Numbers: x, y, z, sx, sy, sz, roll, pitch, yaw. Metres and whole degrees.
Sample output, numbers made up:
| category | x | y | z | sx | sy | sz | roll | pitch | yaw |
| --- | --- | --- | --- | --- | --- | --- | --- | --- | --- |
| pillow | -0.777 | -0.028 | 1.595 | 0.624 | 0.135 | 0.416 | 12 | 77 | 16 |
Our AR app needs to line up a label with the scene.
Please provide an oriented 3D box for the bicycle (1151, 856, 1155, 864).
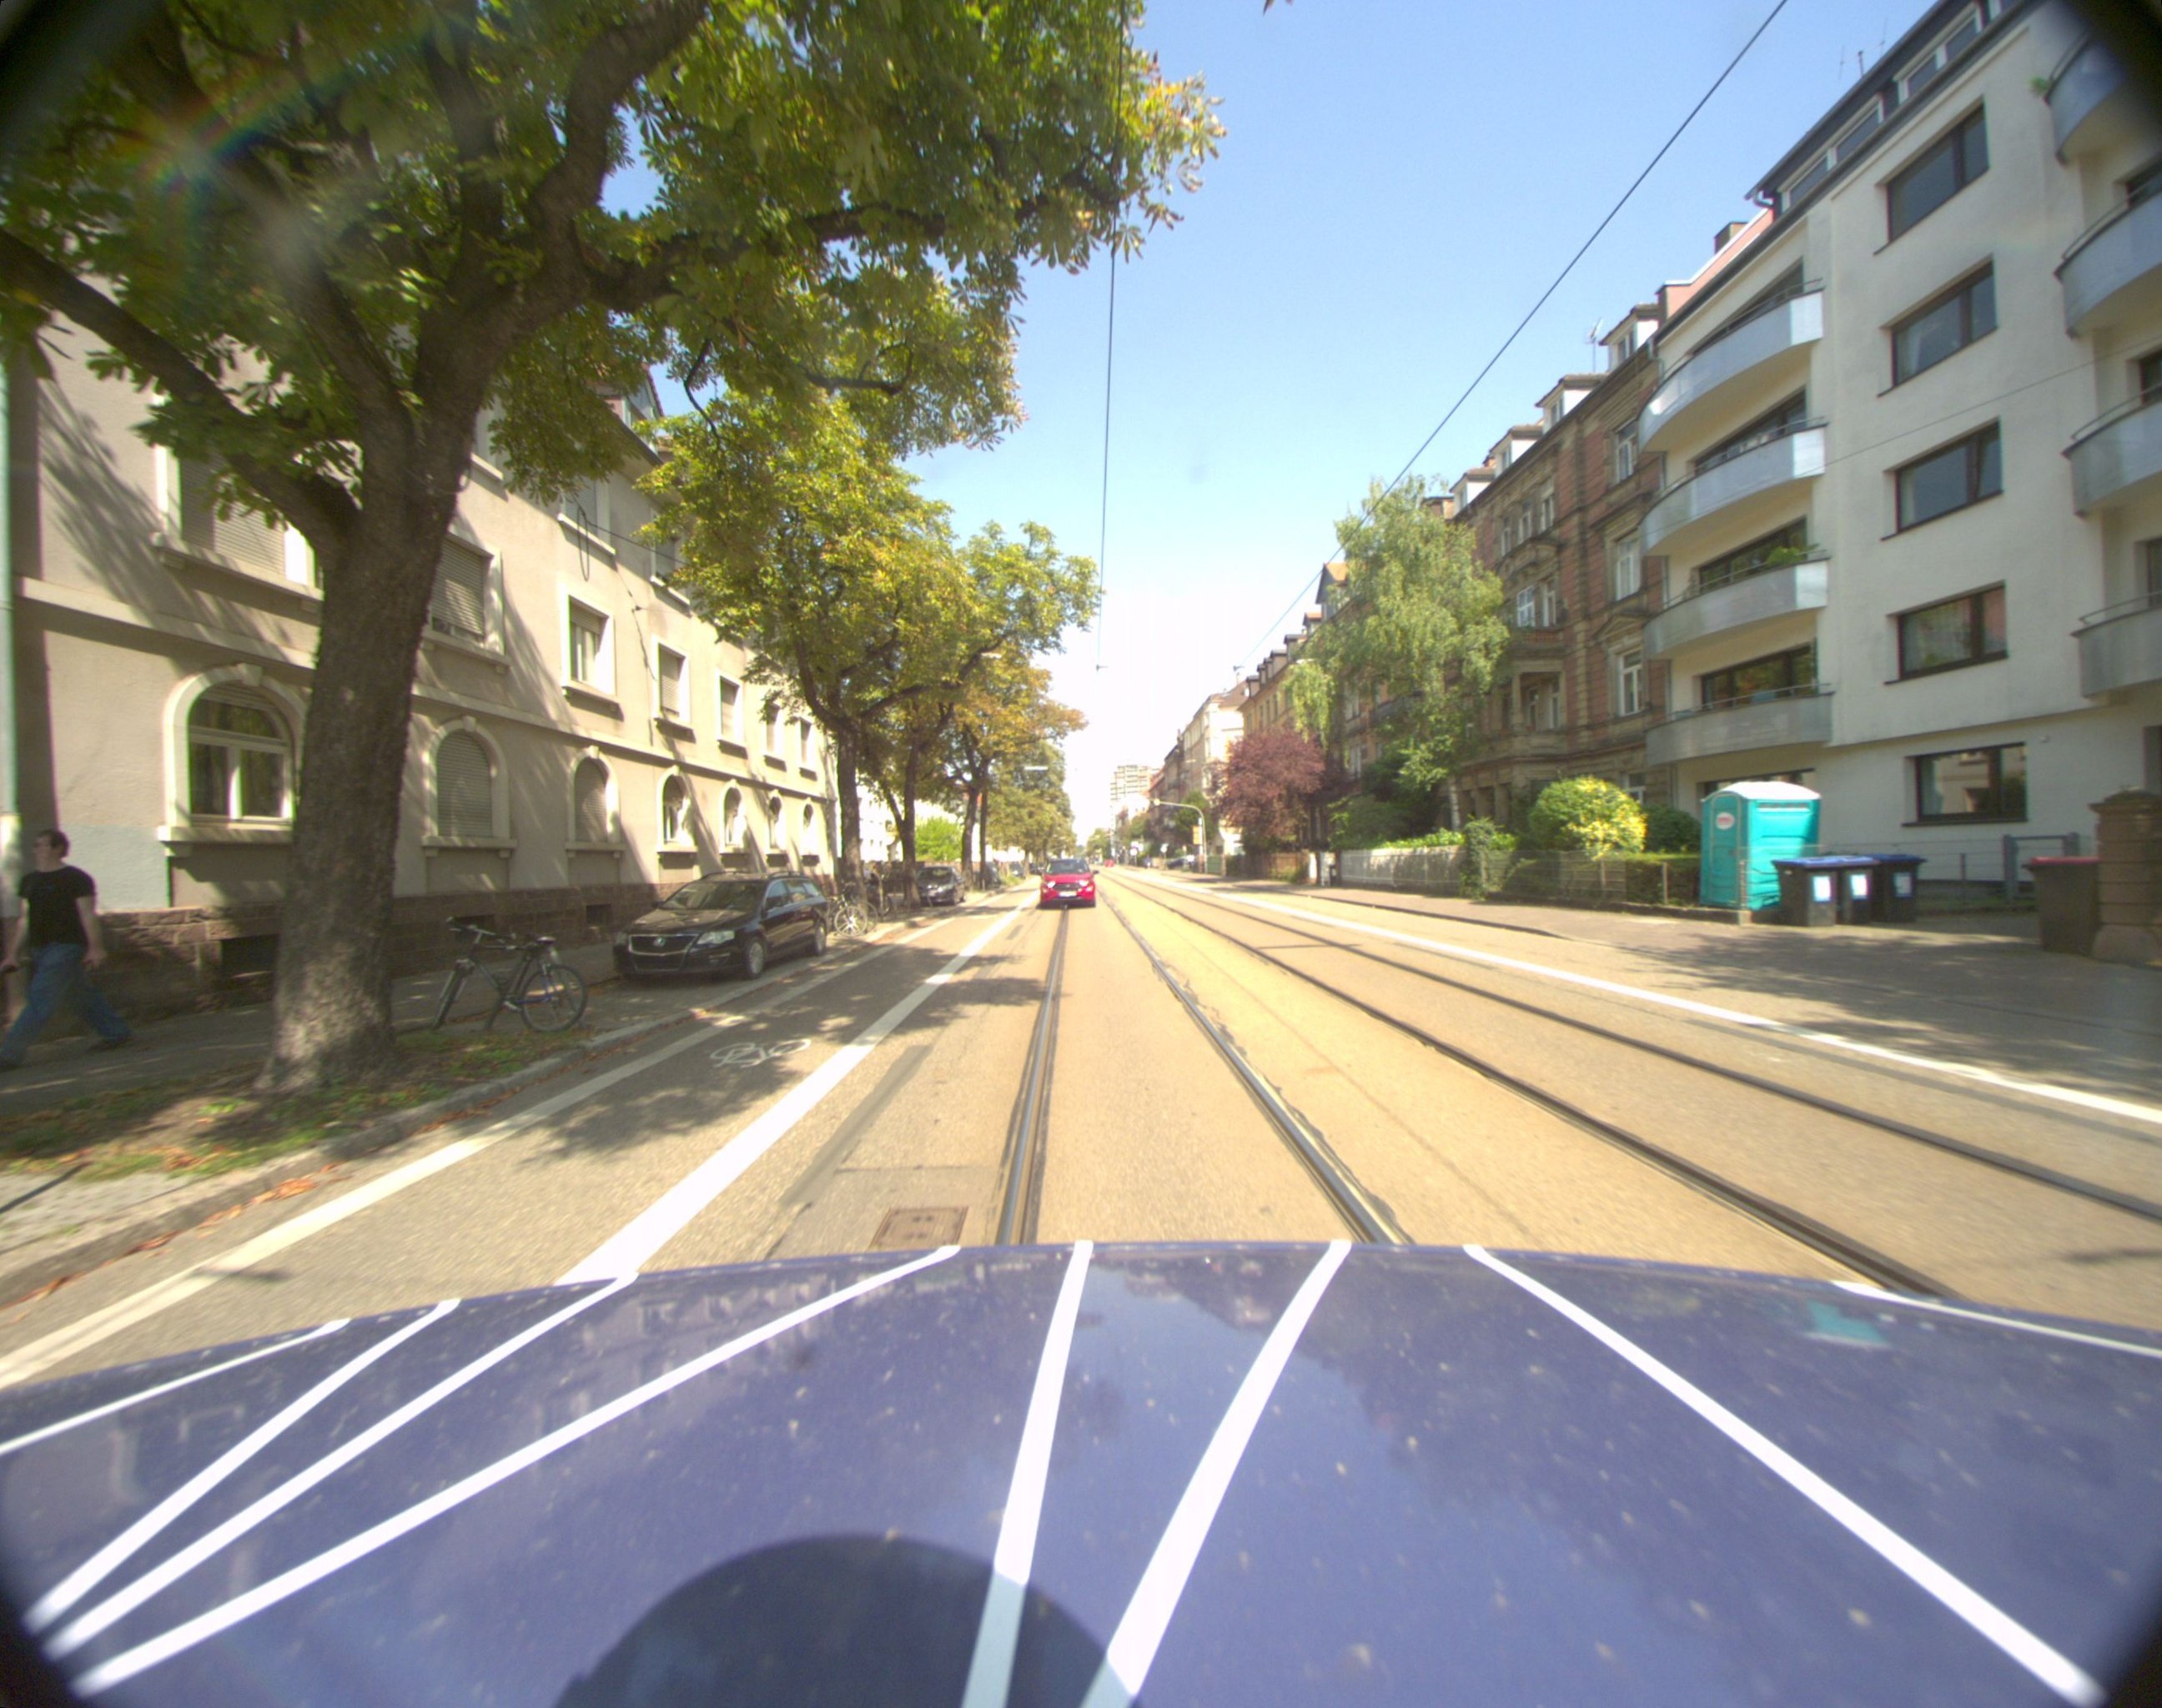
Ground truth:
| category | x | y | z | sx | sy | sz | roll | pitch | yaw |
| --- | --- | --- | --- | --- | --- | --- | --- | --- | --- |
| bicycle | 9.914 | 0.787 | 104.687 | 0.391 | 1.032 | 1.833 | -2 | 0 | 1 |

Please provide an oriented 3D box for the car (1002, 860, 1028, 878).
| category | x | y | z | sx | sy | sz | roll | pitch | yaw |
| --- | --- | --- | --- | --- | --- | --- | --- | --- | --- |
| car | -5.803 | 1.331 | 67.091 | 1.897 | 1.468 | 4.840 | -2 | 0 | -1 |

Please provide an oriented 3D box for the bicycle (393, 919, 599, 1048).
| category | x | y | z | sx | sy | sz | roll | pitch | yaw |
| --- | --- | --- | --- | --- | --- | --- | --- | --- | --- |
| bicycle | -5.503 | 1.216 | 7.166 | 1.726 | 1.130 | 0.377 | -2 | 1 | 6 |

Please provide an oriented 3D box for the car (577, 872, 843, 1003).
| category | x | y | z | sx | sy | sz | roll | pitch | yaw |
| --- | --- | --- | --- | --- | --- | --- | --- | --- | --- |
| car | -5.375 | 1.093 | 11.874 | 1.845 | 1.523 | 4.779 | 0 | 0 | -1 |

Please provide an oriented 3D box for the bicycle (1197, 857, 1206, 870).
| category | x | y | z | sx | sy | sz | roll | pitch | yaw |
| --- | --- | --- | --- | --- | --- | --- | --- | --- | --- |
| bicycle | 10.037 | 0.783 | 63.099 | 0.391 | 1.092 | 1.568 | -2 | 0 | -3 |

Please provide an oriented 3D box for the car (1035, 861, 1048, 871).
| category | x | y | z | sx | sy | sz | roll | pitch | yaw |
| --- | --- | --- | --- | --- | --- | --- | --- | --- | --- |
| car | -5.602 | 1.690 | 108.172 | 1.621 | 1.468 | 4.039 | 0 | 0 | 0 |

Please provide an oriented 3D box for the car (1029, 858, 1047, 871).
| category | x | y | z | sx | sy | sz | roll | pitch | yaw |
| --- | --- | --- | --- | --- | --- | --- | --- | --- | --- |
| car | -4.851 | 1.167 | 85.634 | 1.760 | 1.468 | 4.386 | -2 | 0 | -1 |

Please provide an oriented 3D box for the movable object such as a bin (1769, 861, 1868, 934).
| category | x | y | z | sx | sy | sz | roll | pitch | yaw |
| --- | --- | --- | --- | --- | --- | --- | --- | --- | --- |
| movable object such as a bin | 11.548 | 0.661 | 11.923 | 0.788 | 1.069 | 0.754 | -3 | 0 | -2 |

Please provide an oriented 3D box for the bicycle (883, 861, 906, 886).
| category | x | y | z | sx | sy | sz | roll | pitch | yaw |
| --- | --- | --- | --- | --- | --- | --- | --- | --- | --- |
| bicycle | -10.401 | 1.075 | 42.449 | 0.595 | 1.350 | 2.369 | -2 | 0 | 2 |

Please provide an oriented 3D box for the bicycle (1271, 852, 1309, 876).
| category | x | y | z | sx | sy | sz | roll | pitch | yaw |
| --- | --- | --- | --- | --- | --- | --- | --- | --- | --- |
| bicycle | 11.215 | 0.525 | 40.807 | 1.817 | 1.175 | 0.716 | -3 | 1 | 2 |

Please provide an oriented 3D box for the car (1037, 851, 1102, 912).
| category | x | y | z | sx | sy | sz | roll | pitch | yaw |
| --- | --- | --- | --- | --- | --- | --- | --- | --- | --- |
| car | -0.297 | 0.832 | 25.437 | 1.802 | 1.801 | 4.417 | -2 | 0 | 3 |

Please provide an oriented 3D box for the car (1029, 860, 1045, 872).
| category | x | y | z | sx | sy | sz | roll | pitch | yaw |
| --- | --- | --- | --- | --- | --- | --- | --- | --- | --- |
| car | -5.688 | 1.534 | 97.577 | 1.760 | 1.468 | 4.457 | 2 | 0 | 0 |

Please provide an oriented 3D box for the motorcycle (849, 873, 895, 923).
| category | x | y | z | sx | sy | sz | roll | pitch | yaw |
| --- | --- | --- | --- | --- | --- | --- | --- | --- | --- |
| motorcycle | -5.857 | 1.205 | 21.412 | 0.712 | 1.248 | 2.176 | -2 | 0 | -2 |

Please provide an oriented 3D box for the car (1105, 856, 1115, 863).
| category | x | y | z | sx | sy | sz | roll | pitch | yaw |
| --- | --- | --- | --- | --- | --- | --- | --- | --- | --- |
| car | 6.070 | 1.117 | 159.746 | 1.736 | 1.481 | 4.000 | -1 | 0 | -1 |

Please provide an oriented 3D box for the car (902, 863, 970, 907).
| category | x | y | z | sx | sy | sz | roll | pitch | yaw |
| --- | --- | --- | --- | --- | --- | --- | --- | --- | --- |
| car | -5.496 | 1.166 | 29.275 | 1.845 | 1.523 | 4.115 | -1 | -2 | -1 |

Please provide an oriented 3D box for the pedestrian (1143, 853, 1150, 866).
| category | x | y | z | sx | sy | sz | roll | pitch | yaw |
| --- | --- | --- | --- | --- | --- | --- | --- | --- | --- |
| pedestrian | 8.839 | 0.752 | 102.626 | 0.885 | 1.745 | 0.870 | -2 | 0 | 0 |

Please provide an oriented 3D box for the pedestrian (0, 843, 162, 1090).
| category | x | y | z | sx | sy | sz | roll | pitch | yaw |
| --- | --- | --- | --- | --- | --- | --- | --- | --- | --- |
| pedestrian | -8.274 | 0.865 | 6.154 | 0.708 | 1.881 | 0.714 | -2 | 1 | 1 |

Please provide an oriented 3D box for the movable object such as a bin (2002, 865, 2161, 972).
| category | x | y | z | sx | sy | sz | roll | pitch | yaw |
| --- | --- | --- | --- | --- | --- | --- | --- | --- | --- |
| movable object such as a bin | 11.000 | 0.682 | 8.331 | 0.788 | 1.069 | 0.803 | -3 | 0 | 3 |

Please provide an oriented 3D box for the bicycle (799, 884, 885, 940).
| category | x | y | z | sx | sy | sz | roll | pitch | yaw |
| --- | --- | --- | --- | --- | --- | --- | --- | --- | --- |
| bicycle | -5.146 | 1.248 | 16.385 | 1.726 | 1.143 | 0.377 | -2 | 0 | 6 |

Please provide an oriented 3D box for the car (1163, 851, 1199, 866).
| category | x | y | z | sx | sy | sz | roll | pitch | yaw |
| --- | --- | --- | --- | --- | --- | --- | --- | --- | --- |
| car | 12.432 | 0.549 | 94.548 | 4.111 | 1.585 | 1.879 | -3 | 0 | 1 |

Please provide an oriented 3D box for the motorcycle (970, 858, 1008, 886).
| category | x | y | z | sx | sy | sz | roll | pitch | yaw |
| --- | --- | --- | --- | --- | --- | --- | --- | --- | --- |
| motorcycle | -5.508 | 1.059 | 45.388 | 2.339 | 1.531 | 0.971 | 1 | 2 | 41 |

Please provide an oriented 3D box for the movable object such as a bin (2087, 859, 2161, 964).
| category | x | y | z | sx | sy | sz | roll | pitch | yaw |
| --- | --- | --- | --- | --- | --- | --- | --- | --- | --- |
| movable object such as a bin | 11.847 | 0.614 | 8.231 | 0.788 | 1.069 | 0.803 | -3 | 0 | 3 |

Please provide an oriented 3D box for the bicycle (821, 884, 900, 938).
| category | x | y | z | sx | sy | sz | roll | pitch | yaw |
| --- | --- | --- | --- | --- | --- | --- | --- | --- | --- |
| bicycle | -4.852 | 1.255 | 16.752 | 1.609 | 1.097 | 0.399 | -2 | 0 | 6 |
